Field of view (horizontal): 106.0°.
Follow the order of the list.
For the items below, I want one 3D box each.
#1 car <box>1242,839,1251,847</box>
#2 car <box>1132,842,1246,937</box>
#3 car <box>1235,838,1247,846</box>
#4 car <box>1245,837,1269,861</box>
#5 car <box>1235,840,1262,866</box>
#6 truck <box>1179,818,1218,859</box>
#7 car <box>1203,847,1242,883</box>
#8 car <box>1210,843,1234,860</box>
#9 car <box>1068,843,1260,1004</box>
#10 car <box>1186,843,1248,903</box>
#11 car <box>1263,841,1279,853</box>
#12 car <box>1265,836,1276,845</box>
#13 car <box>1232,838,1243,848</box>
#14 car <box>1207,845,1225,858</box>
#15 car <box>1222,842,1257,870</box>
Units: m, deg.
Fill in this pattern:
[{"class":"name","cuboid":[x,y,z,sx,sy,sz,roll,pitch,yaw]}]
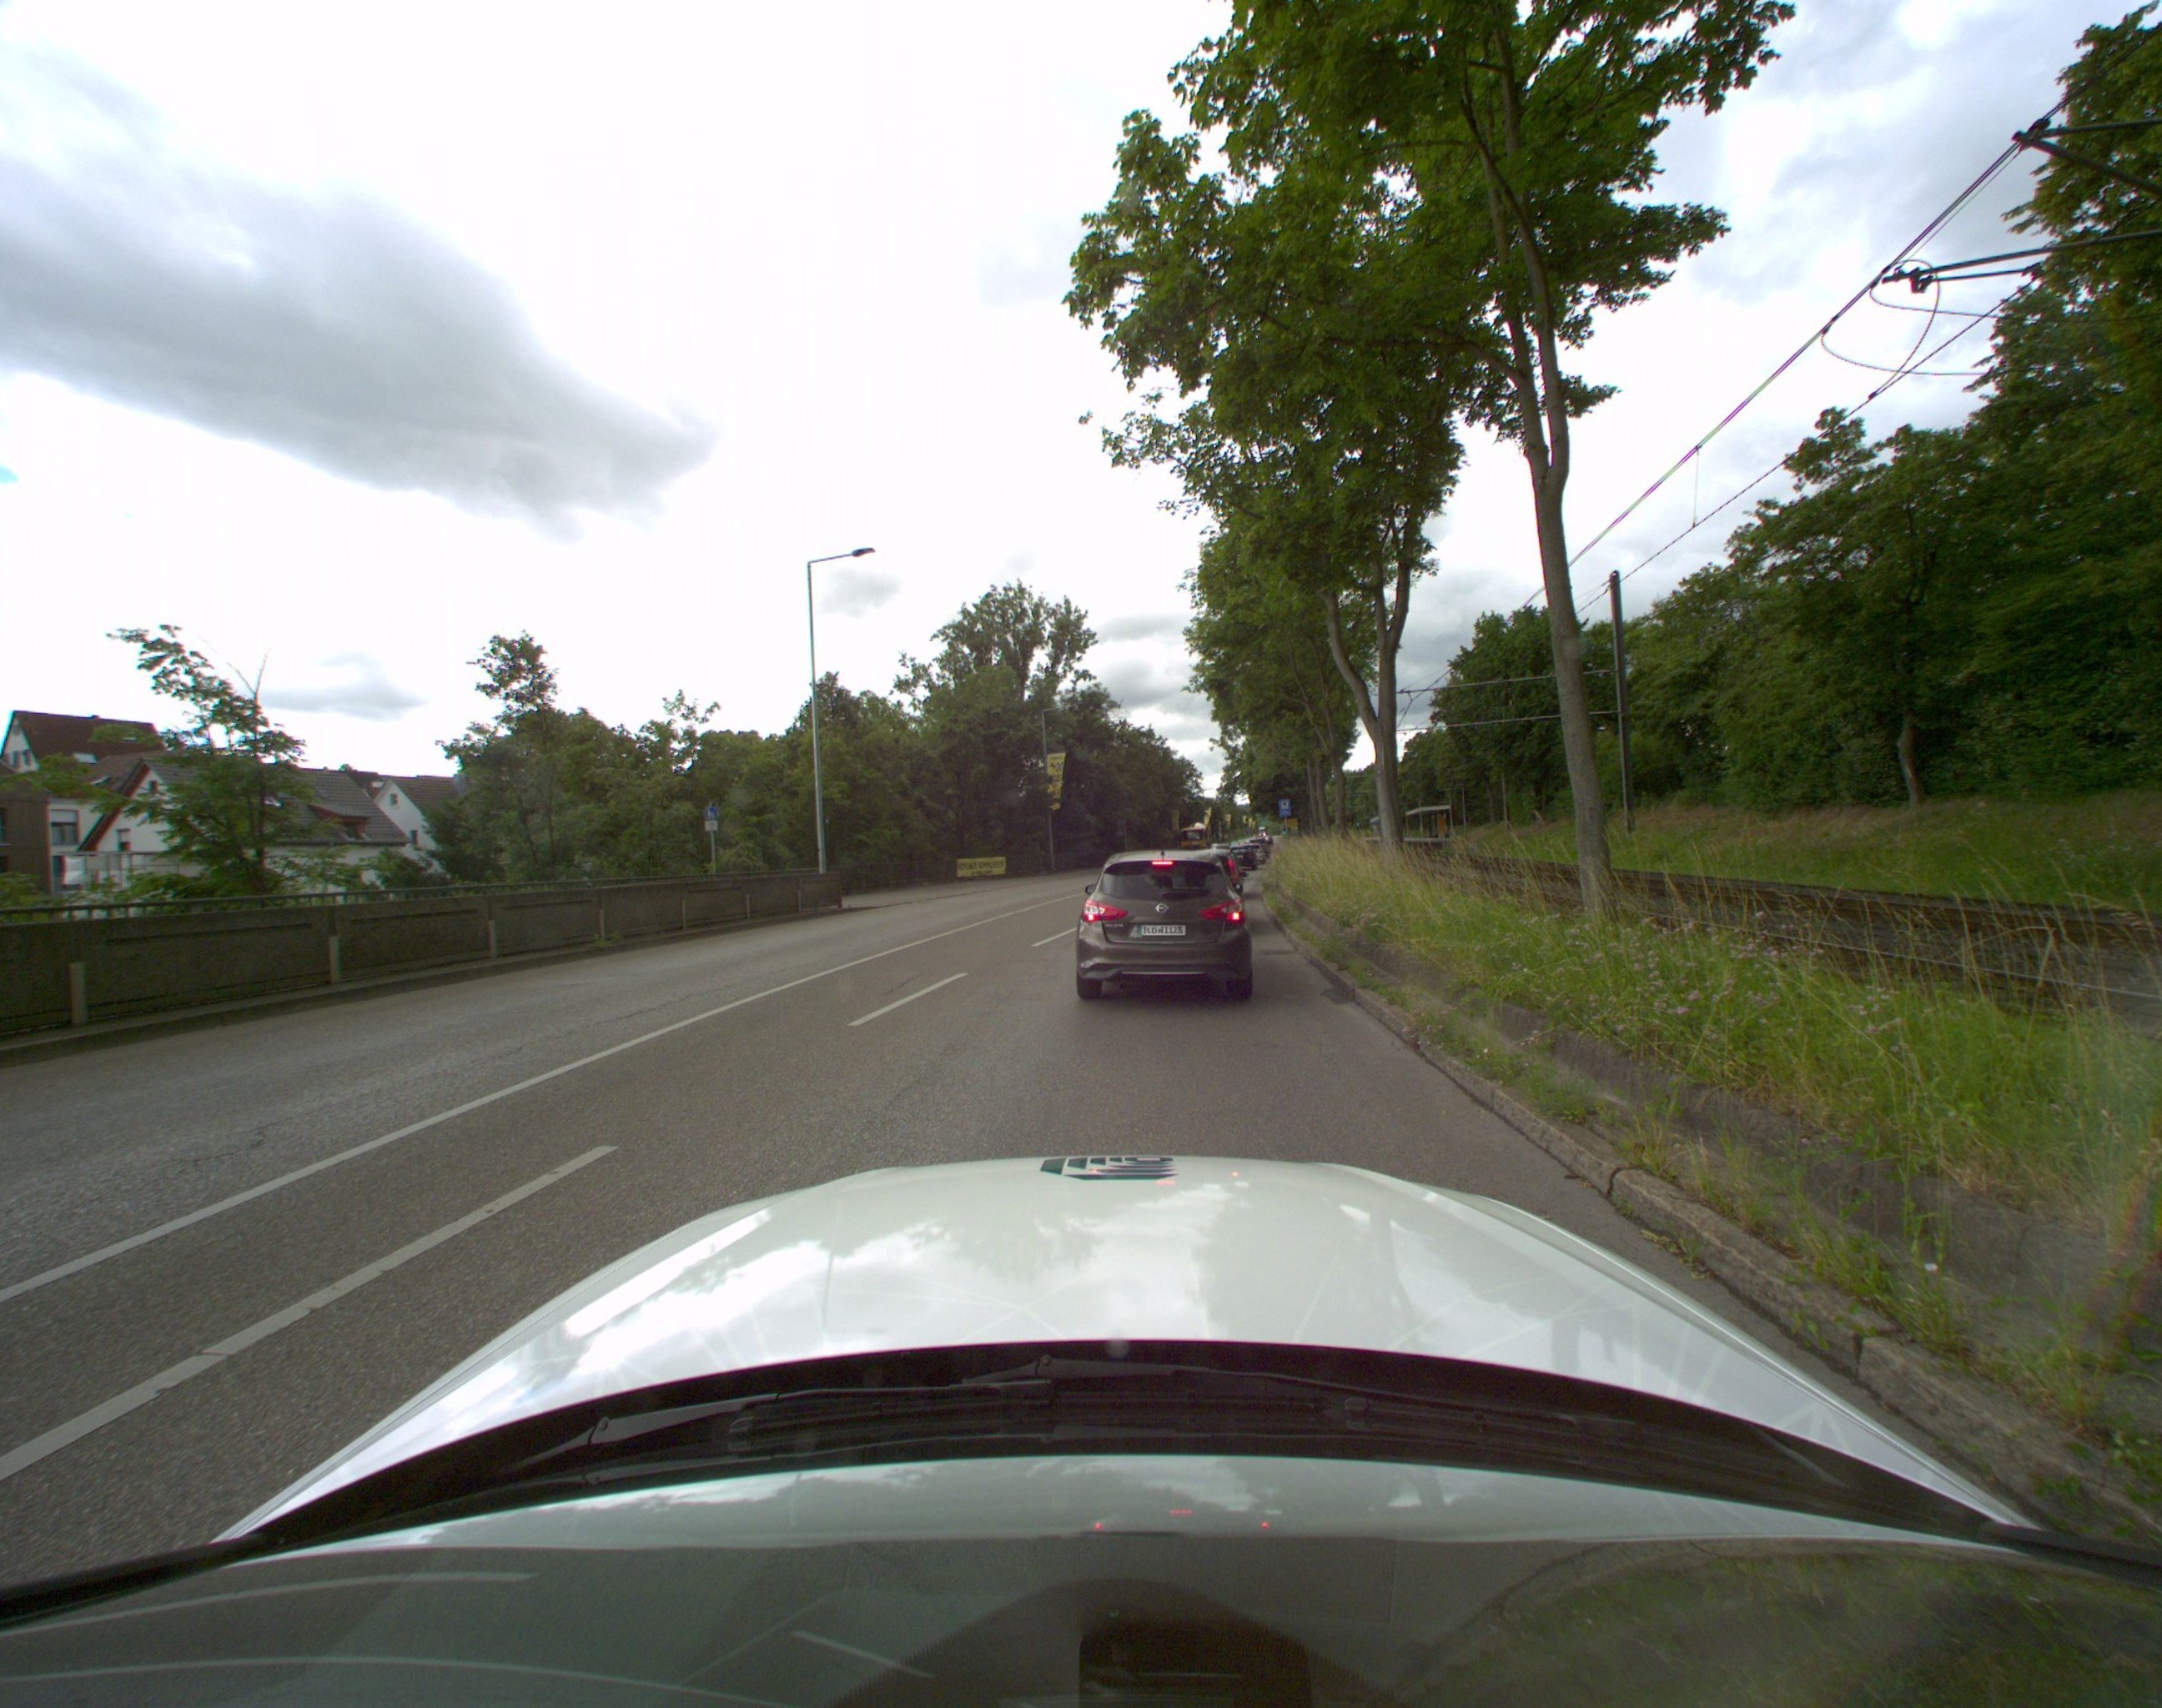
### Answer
[{"class":"car","cuboid":[36.806,-2.475,180.781,1.740,1.420,4.014,-3,-2,13]},{"class":"car","cuboid":[2.095,0.636,15.916,1.883,1.574,4.008,-2,-1,7]},{"class":"car","cuboid":[30.049,-2.208,152.926,1.804,1.462,4.016,-3,0,14]},{"class":"car","cuboid":[15.747,-0.487,72.869,1.877,2.013,4.016,-2,0,14]},{"class":"car","cuboid":[12.169,-0.065,59.069,1.706,1.693,4.014,-3,-2,13]},{"class":"truck","cuboid":[12.252,-1.527,83.964,2.635,3.938,10.153,-2,0,16]},{"class":"car","cuboid":[6.039,0.439,34.503,1.491,1.364,3.598,-3,-1,11]},{"class":"car","cuboid":[13.247,-0.244,76.438,1.838,1.486,4.438,-3,-1,15]},{"class":"car","cuboid":[0.962,0.681,9.613,1.766,1.494,4.006,-1,-1,5]},{"class":"car","cuboid":[4.005,0.514,23.923,1.568,1.538,4.011,-3,-1,10]},{"class":"car","cuboid":[24.380,-0.862,104.393,1.877,1.445,3.822,-2,0,14]},{"class":"car","cuboid":[35.684,-2.478,153.651,1.877,1.653,4.016,-2,0,14]},{"class":"car","cuboid":[27.289,-1.904,141.750,1.709,1.442,4.014,-3,-1,13]},{"class":"car","cuboid":[16.232,-0.326,97.824,1.754,1.479,4.015,-2,0,13]},{"class":"car","cuboid":[9.204,0.121,47.197,1.792,1.540,4.015,-1,-1,13]}]
